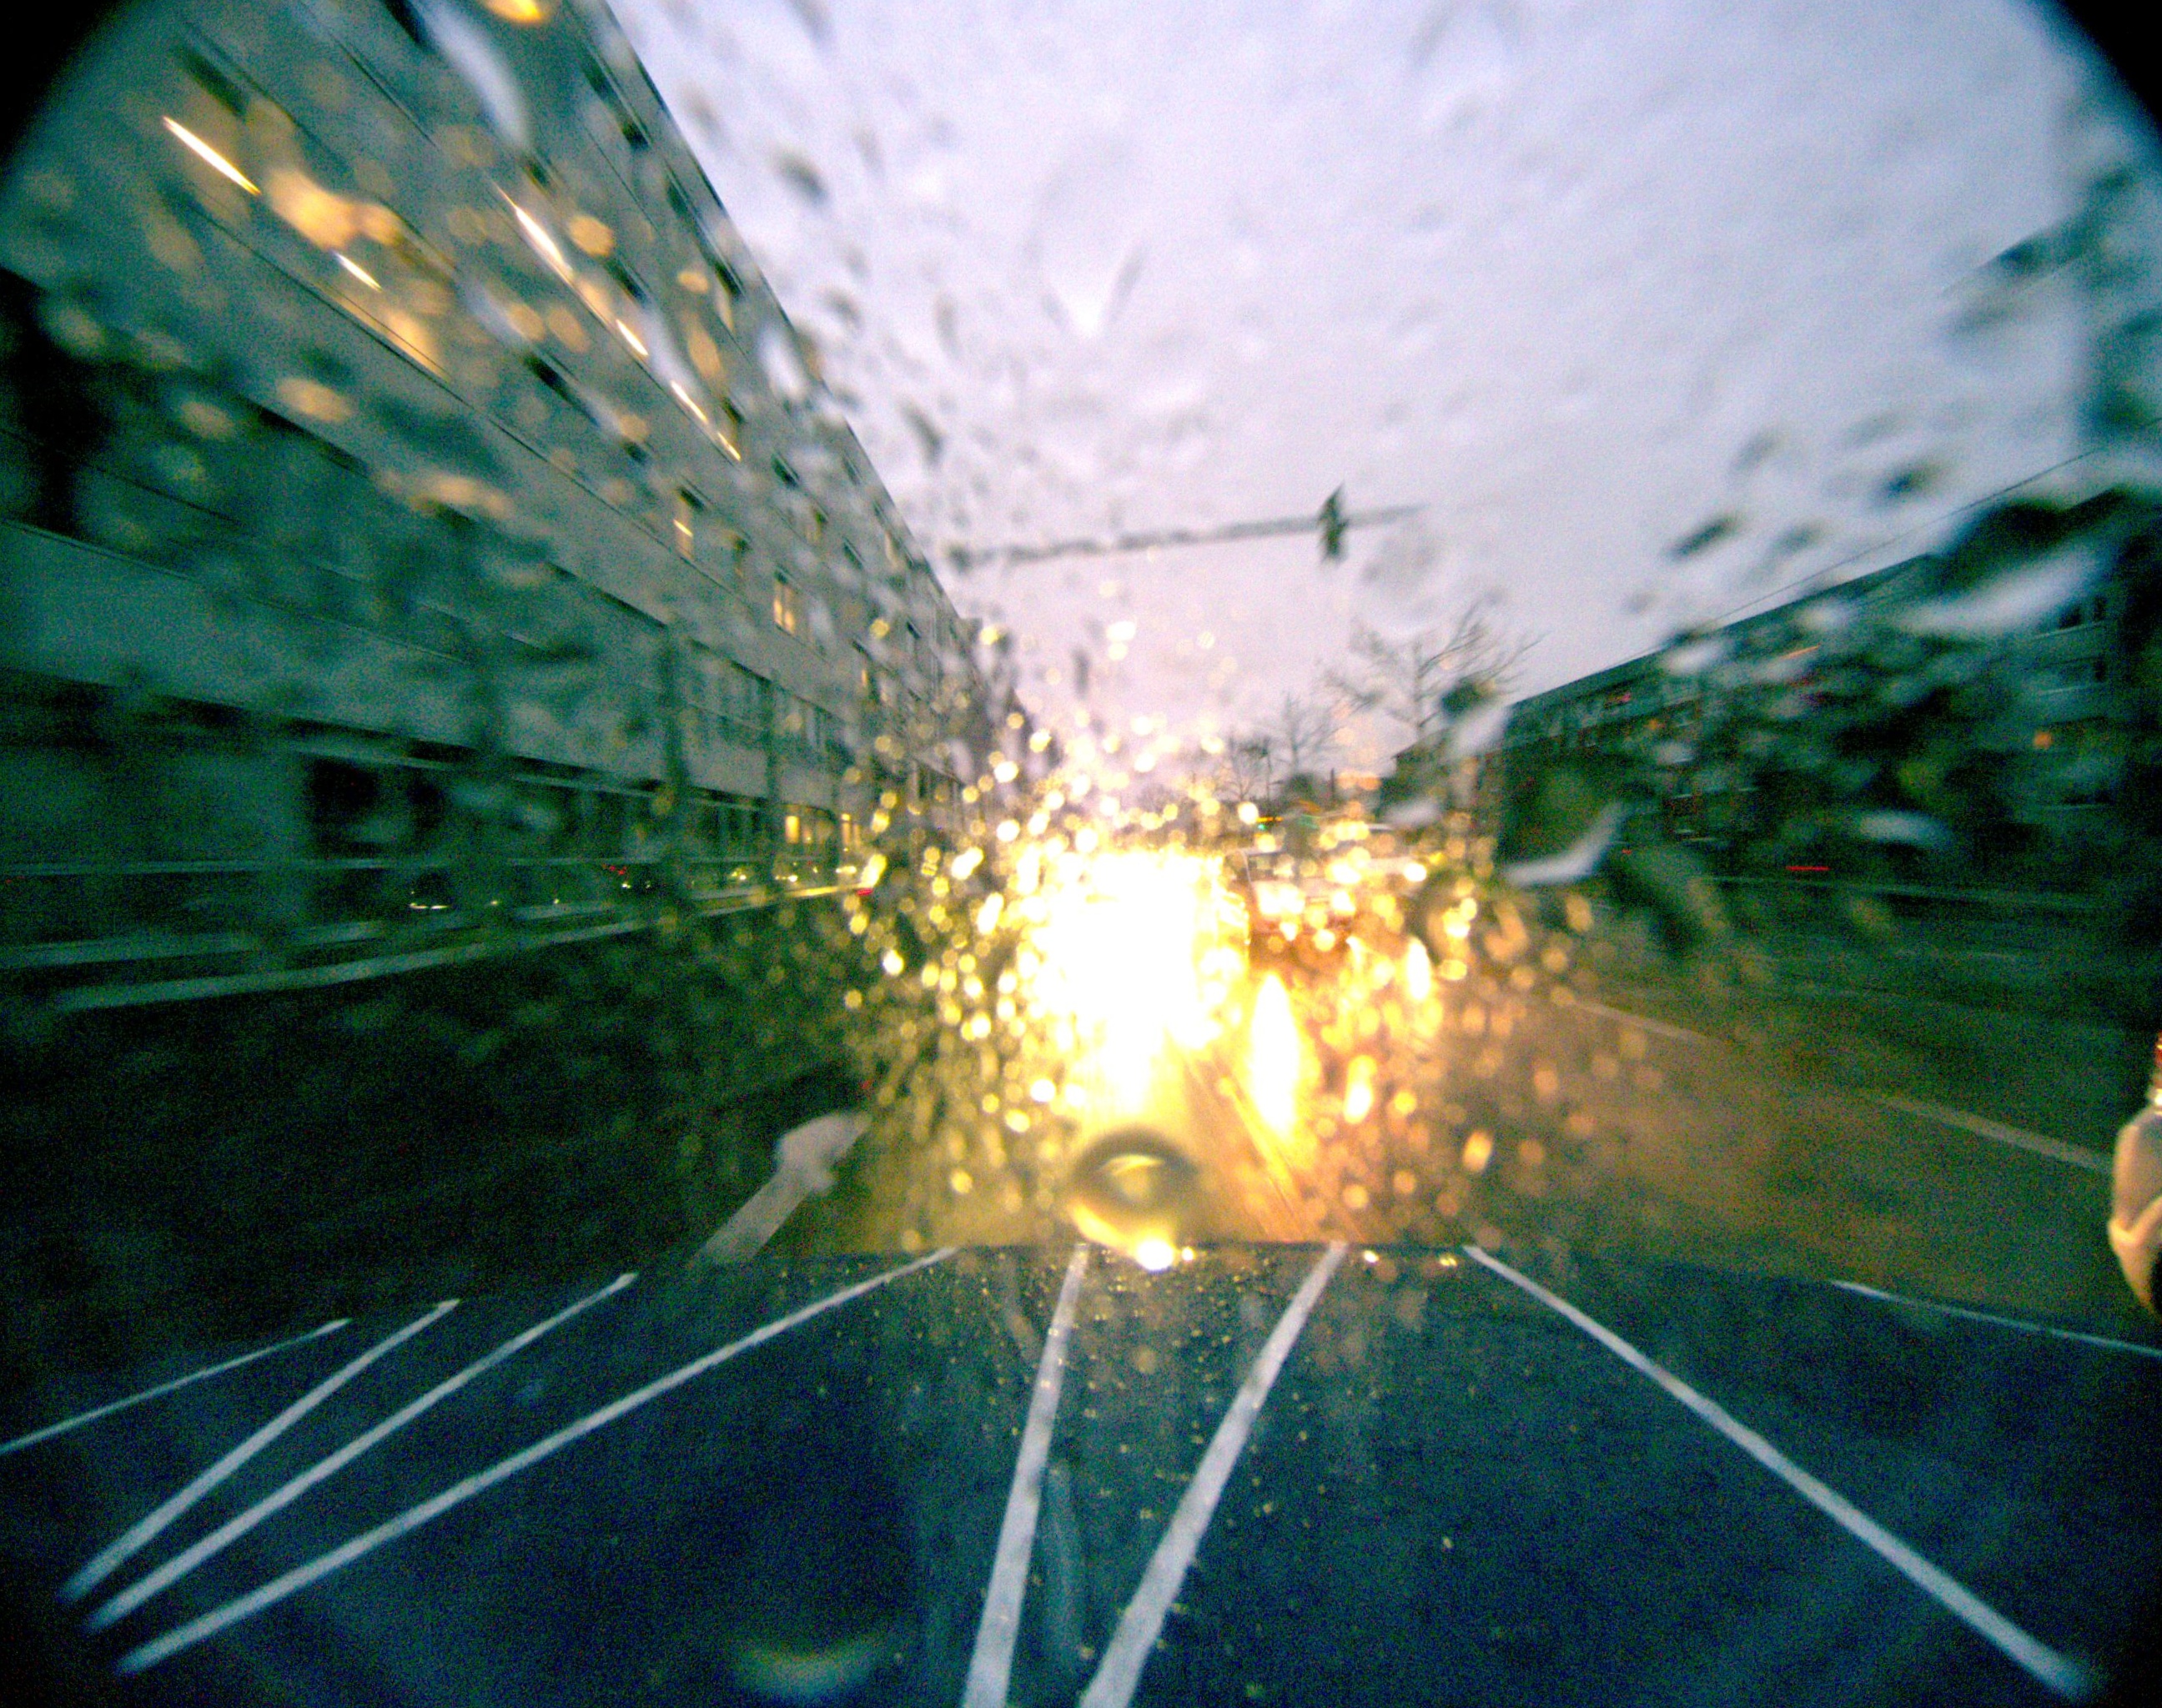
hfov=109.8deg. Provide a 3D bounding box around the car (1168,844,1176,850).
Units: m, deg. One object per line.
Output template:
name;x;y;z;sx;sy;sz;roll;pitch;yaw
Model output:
car;28.081;-2.186;234.398;1.527;1.630;3.747;-2;1;-5

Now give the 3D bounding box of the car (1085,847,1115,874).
car;1.229;0.408;49.438;1.764;1.520;3.734;-3;1;1

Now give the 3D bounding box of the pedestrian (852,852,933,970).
pedestrian;-2.945;0.858;11.899;0.796;1.740;0.863;3;1;28

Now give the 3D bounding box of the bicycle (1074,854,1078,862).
bicycle;-0.700;0.554;111.520;0.552;1.109;2.165;0;2;1

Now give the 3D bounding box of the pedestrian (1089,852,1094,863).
pedestrian;1.655;0.570;120.032;0.773;1.798;0.699;2;2;-2

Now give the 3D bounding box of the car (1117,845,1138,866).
car;4.343;0.100;70.685;1.691;1.780;3.645;-3;1;1

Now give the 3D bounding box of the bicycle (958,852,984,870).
bicycle;-7.786;0.492;53.743;0.823;1.266;2.461;2;1;17

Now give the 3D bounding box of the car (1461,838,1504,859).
car;34.527;-0.536;65.464;1.728;1.636;4.151;-3;1;4

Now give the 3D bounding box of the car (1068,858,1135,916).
car;0.620;0.921;22.665;1.757;1.418;3.804;-3;1;2

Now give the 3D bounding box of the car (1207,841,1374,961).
car;3.445;0.670;13.319;2.020;1.667;4.000;-3;1;4

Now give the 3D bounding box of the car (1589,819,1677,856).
car;27.345;-0.812;37.795;1.714;1.679;3.731;-3;1;2

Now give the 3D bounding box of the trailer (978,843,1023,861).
trailer;-9.882;-0.219;93.039;5.078;1.900;2.131;-2;-1;6

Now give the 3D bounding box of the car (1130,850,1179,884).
car;3.630;0.626;38.171;1.975;1.492;4.091;-3;0;0

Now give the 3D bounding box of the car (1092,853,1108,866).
car;2.004;0.588;80.815;1.595;1.386;3.486;0;0;1

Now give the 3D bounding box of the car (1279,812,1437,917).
car;6.221;0.197;17.757;1.957;2.022;4.883;-3;0;2

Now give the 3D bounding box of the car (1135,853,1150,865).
car;7.567;0.611;94.166;1.539;1.404;3.667;-3;1;1
